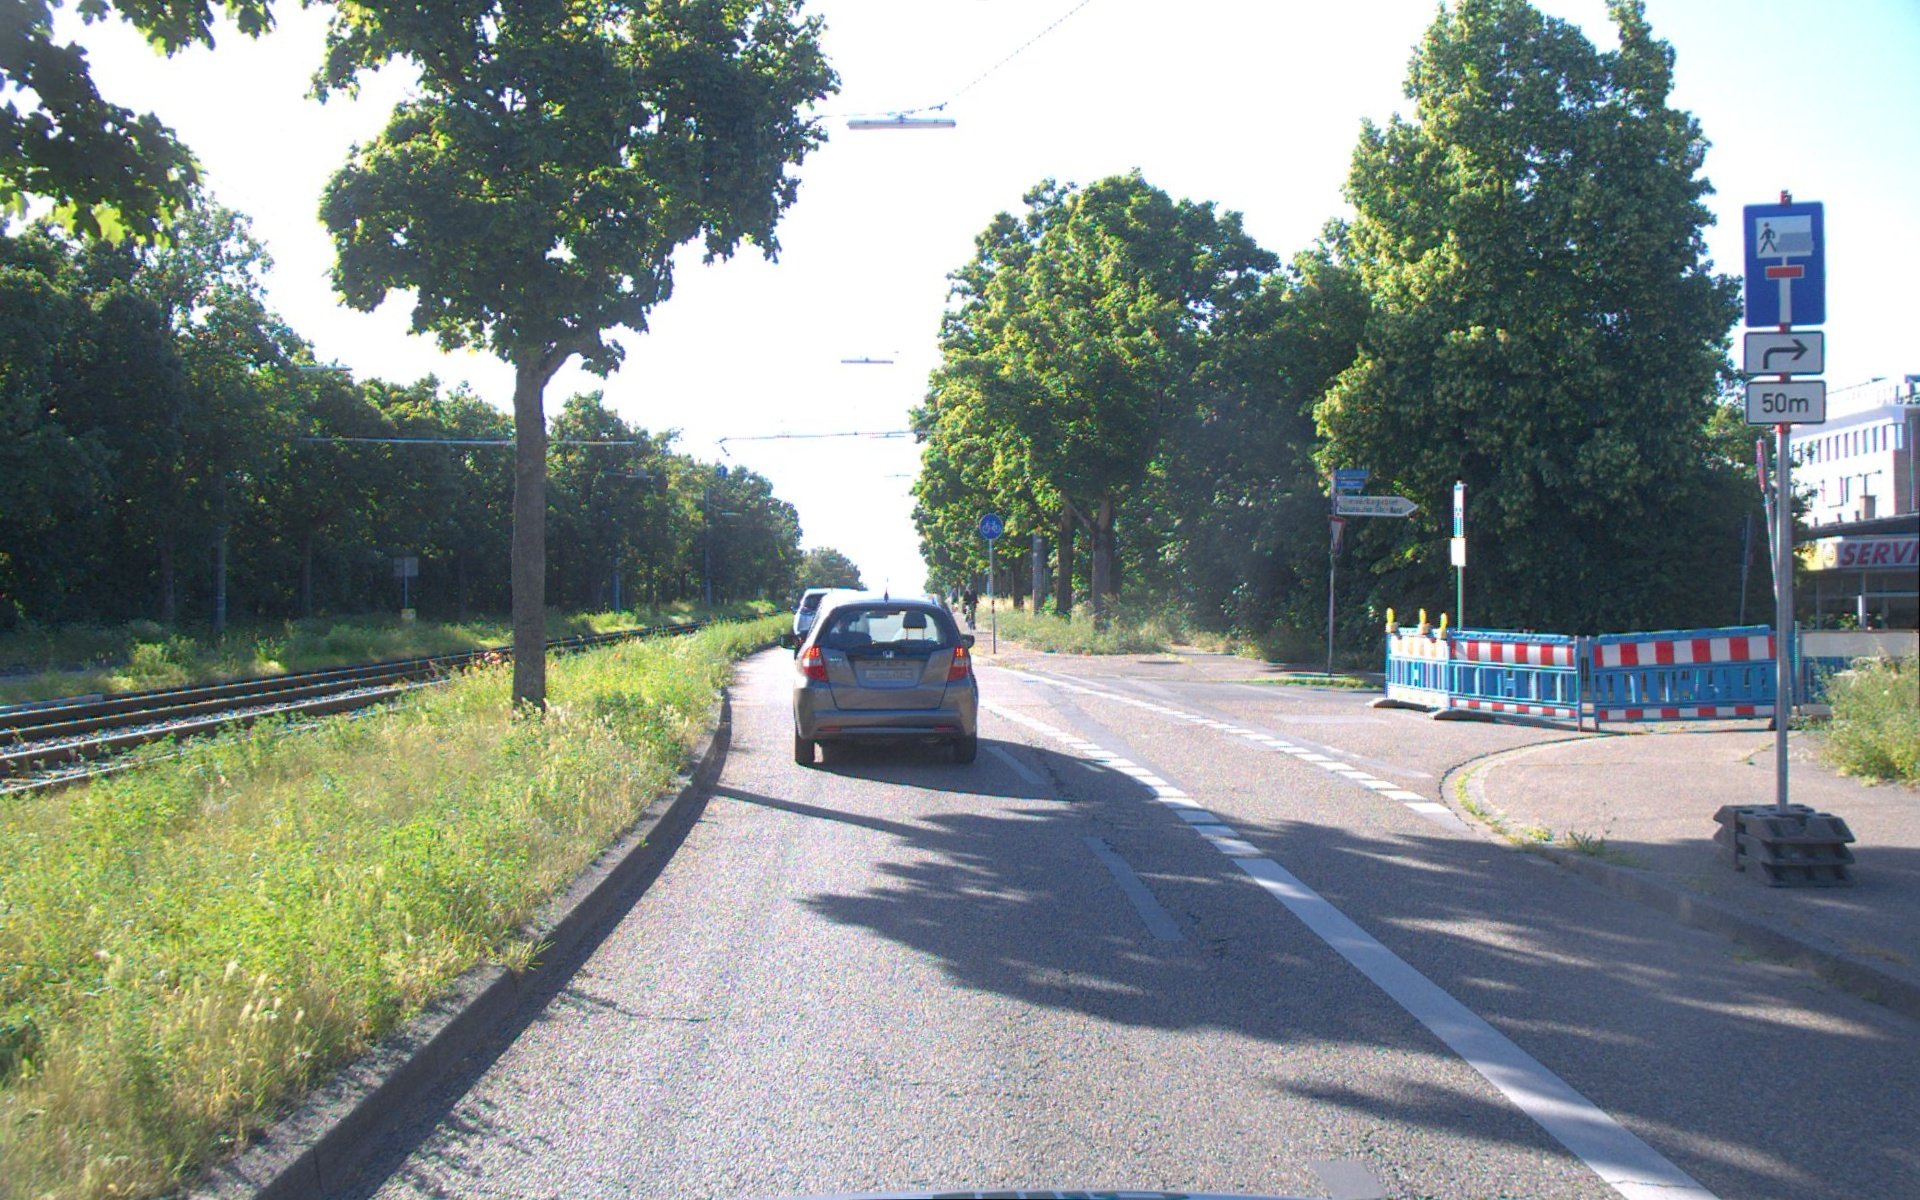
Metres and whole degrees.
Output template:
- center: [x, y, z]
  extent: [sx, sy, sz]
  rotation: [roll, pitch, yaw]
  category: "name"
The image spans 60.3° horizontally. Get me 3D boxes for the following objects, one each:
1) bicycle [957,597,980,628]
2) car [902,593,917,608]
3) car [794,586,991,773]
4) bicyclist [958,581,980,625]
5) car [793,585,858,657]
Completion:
- center: [0.310, 0.472, 59.780]
  extent: [0.801, 1.066, 2.505]
  rotation: [1, -2, 0]
  category: "bicycle"
- center: [-7.745, 0.078, 253.501]
  extent: [1.953, 2.048, 3.999]
  rotation: [-4, -1, 0]
  category: "car"
- center: [-0.712, 0.666, 15.911]
  extent: [1.638, 1.542, 3.670]
  rotation: [2, 1, -5]
  category: "car"
- center: [0.323, 0.104, 59.810]
  extent: [0.801, 1.551, 0.966]
  rotation: [1, -2, 0]
  category: "bicyclist"
- center: [-3.092, 0.481, 37.701]
  extent: [1.326, 1.554, 3.118]
  rotation: [-1, -1, -7]
  category: "car"
